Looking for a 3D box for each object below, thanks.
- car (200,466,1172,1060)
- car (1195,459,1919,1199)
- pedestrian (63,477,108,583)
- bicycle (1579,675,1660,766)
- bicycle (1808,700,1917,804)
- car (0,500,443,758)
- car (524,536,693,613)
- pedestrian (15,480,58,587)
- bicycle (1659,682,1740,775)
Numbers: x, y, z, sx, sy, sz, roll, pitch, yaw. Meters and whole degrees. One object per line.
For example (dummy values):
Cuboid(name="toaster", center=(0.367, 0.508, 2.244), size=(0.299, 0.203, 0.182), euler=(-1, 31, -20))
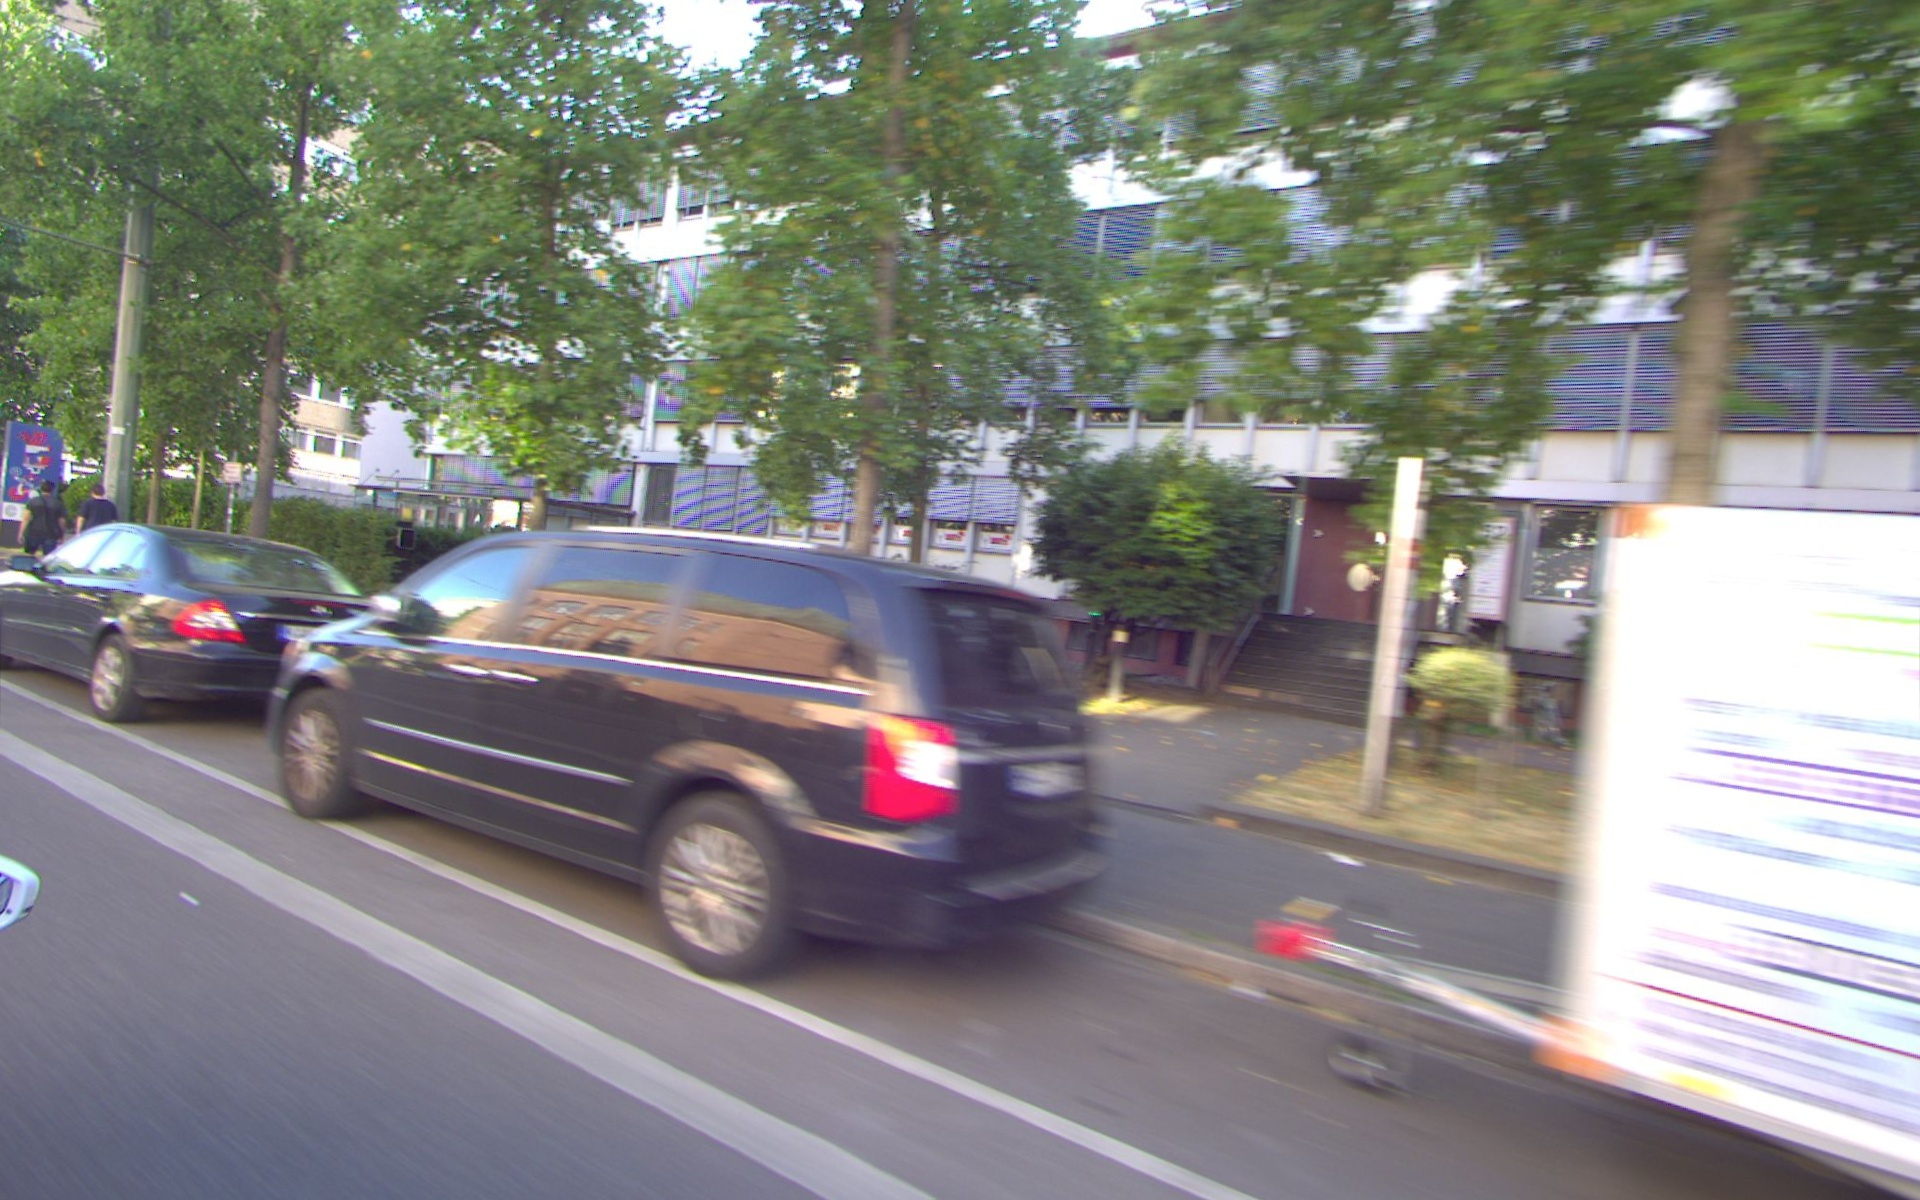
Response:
Cuboid(name="car", center=(-1.710, 0.449, 5.460), size=(5.094, 1.809, 1.953), euler=(7, -1, 31))
Cuboid(name="car", center=(2.854, 0.830, 2.977), size=(3.648, 2.145, 1.706), euler=(6, 0, 35))
Cuboid(name="pedestrian", center=(-15.042, -1.201, 17.312), size=(0.495, 1.733, 0.448), euler=(4, 5, -40))
Cuboid(name="bicycle", center=(10.737, 1.902, 16.336), size=(0.849, 1.205, 2.316), euler=(8, 3, 36))
Cuboid(name="bicycle", center=(13.305, 2.195, 14.906), size=(0.849, 1.187, 2.316), euler=(8, 3, 36))
Cuboid(name="car", center=(-6.629, 0.125, 8.581), size=(4.597, 1.445, 1.719), euler=(8, 0, 32))
Cuboid(name="car", center=(-9.620, -0.709, 27.458), size=(4.362, 1.514, 1.867), euler=(8, 2, 30))
Cuboid(name="pedestrian", center=(-15.507, -1.115, 16.900), size=(0.424, 1.733, 0.448), euler=(4, 5, -40))
Cuboid(name="bicycle", center=(11.688, 1.979, 15.919), size=(0.849, 1.168, 2.316), euler=(8, 3, 36))
